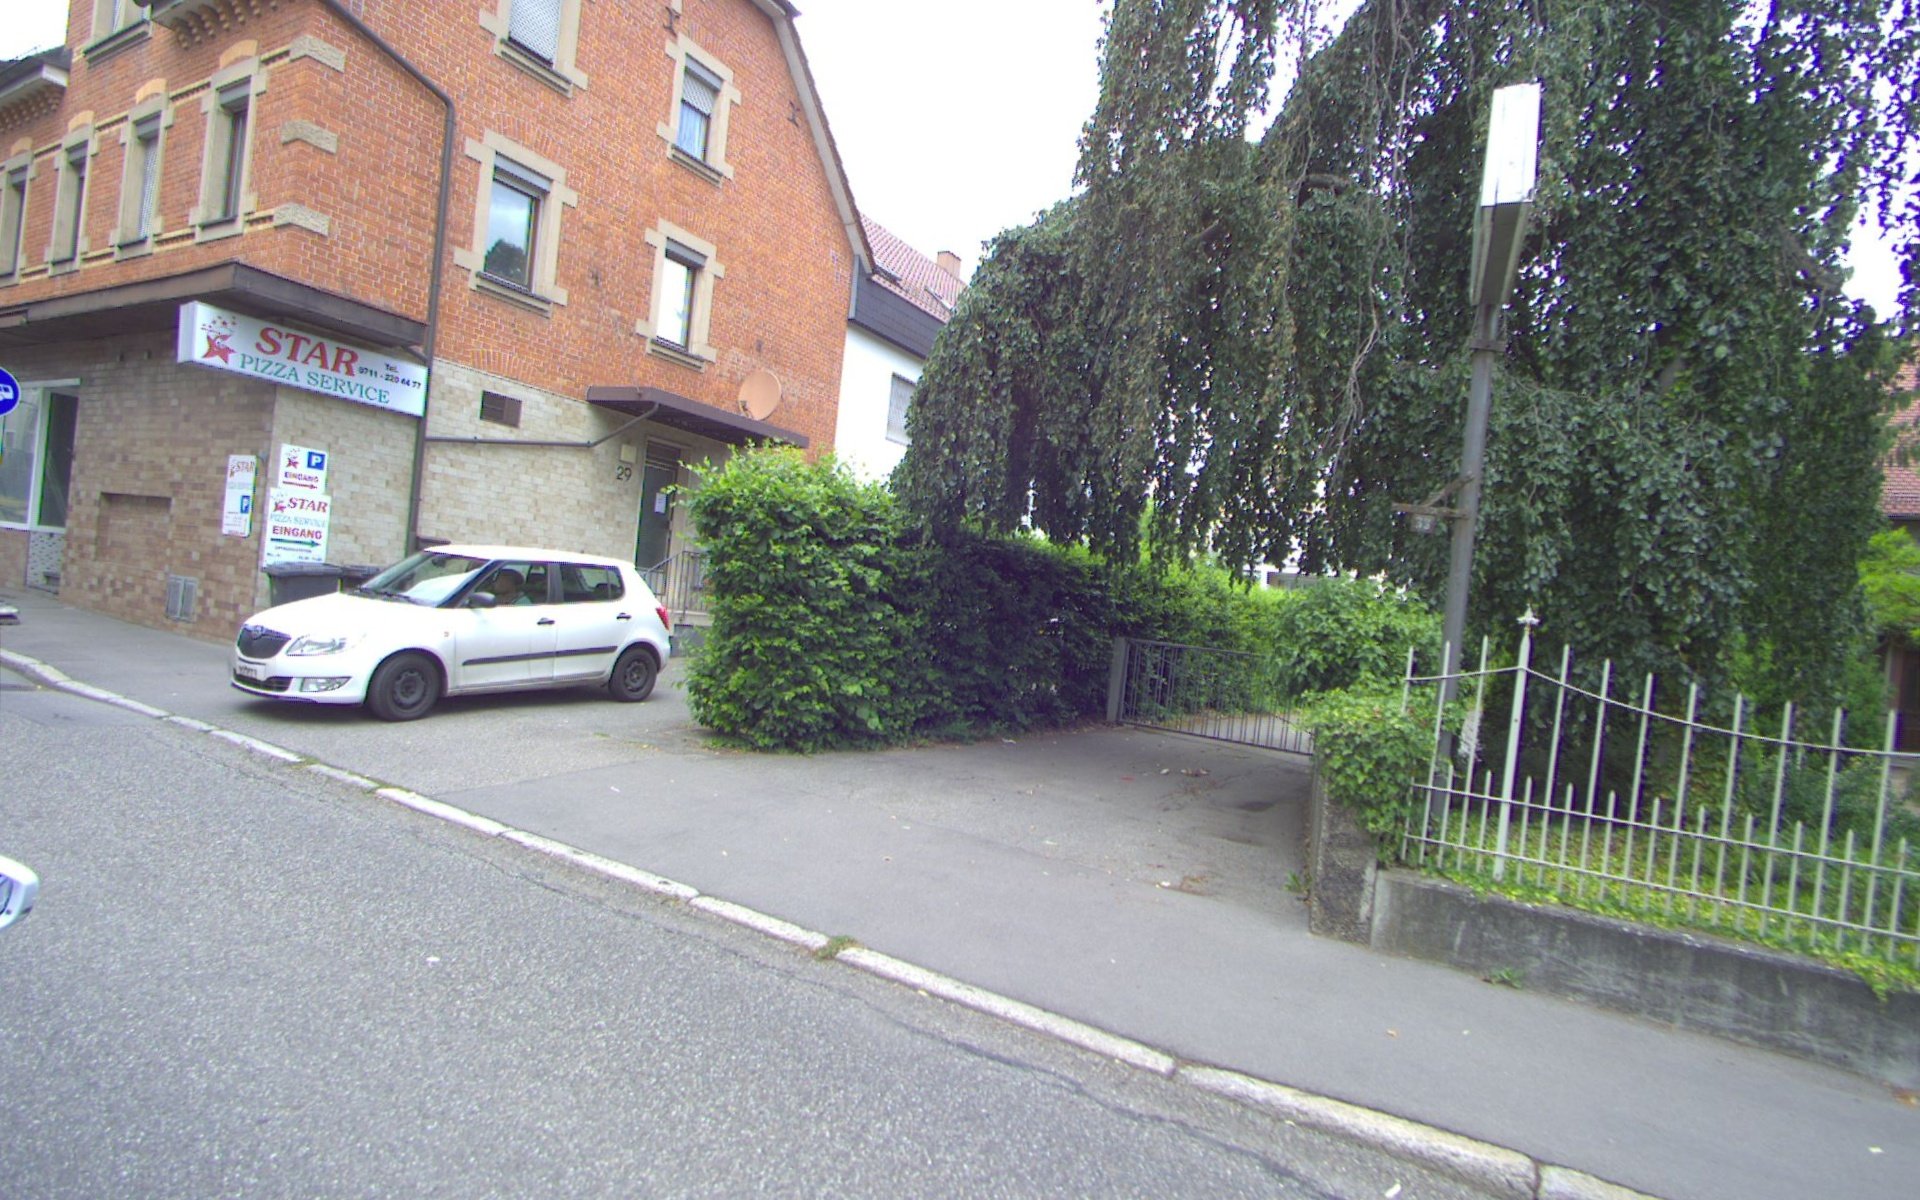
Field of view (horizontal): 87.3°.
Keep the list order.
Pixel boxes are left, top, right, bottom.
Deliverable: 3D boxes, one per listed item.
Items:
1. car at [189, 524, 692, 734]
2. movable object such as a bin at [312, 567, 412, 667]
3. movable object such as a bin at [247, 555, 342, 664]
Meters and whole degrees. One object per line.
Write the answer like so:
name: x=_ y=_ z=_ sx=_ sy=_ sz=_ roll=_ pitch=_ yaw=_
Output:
car: x=-4.624 y=0.193 z=9.595 sx=1.574 sy=1.490 sz=4.029 roll=6 pitch=3 yaw=29
movable object such as a bin: x=-6.935 y=0.202 z=11.675 sx=0.711 sy=1.073 sz=0.699 roll=6 pitch=2 yaw=31
movable object such as a bin: x=-7.272 y=0.106 z=10.999 sx=0.612 sy=1.115 sz=0.606 roll=6 pitch=2 yaw=31
